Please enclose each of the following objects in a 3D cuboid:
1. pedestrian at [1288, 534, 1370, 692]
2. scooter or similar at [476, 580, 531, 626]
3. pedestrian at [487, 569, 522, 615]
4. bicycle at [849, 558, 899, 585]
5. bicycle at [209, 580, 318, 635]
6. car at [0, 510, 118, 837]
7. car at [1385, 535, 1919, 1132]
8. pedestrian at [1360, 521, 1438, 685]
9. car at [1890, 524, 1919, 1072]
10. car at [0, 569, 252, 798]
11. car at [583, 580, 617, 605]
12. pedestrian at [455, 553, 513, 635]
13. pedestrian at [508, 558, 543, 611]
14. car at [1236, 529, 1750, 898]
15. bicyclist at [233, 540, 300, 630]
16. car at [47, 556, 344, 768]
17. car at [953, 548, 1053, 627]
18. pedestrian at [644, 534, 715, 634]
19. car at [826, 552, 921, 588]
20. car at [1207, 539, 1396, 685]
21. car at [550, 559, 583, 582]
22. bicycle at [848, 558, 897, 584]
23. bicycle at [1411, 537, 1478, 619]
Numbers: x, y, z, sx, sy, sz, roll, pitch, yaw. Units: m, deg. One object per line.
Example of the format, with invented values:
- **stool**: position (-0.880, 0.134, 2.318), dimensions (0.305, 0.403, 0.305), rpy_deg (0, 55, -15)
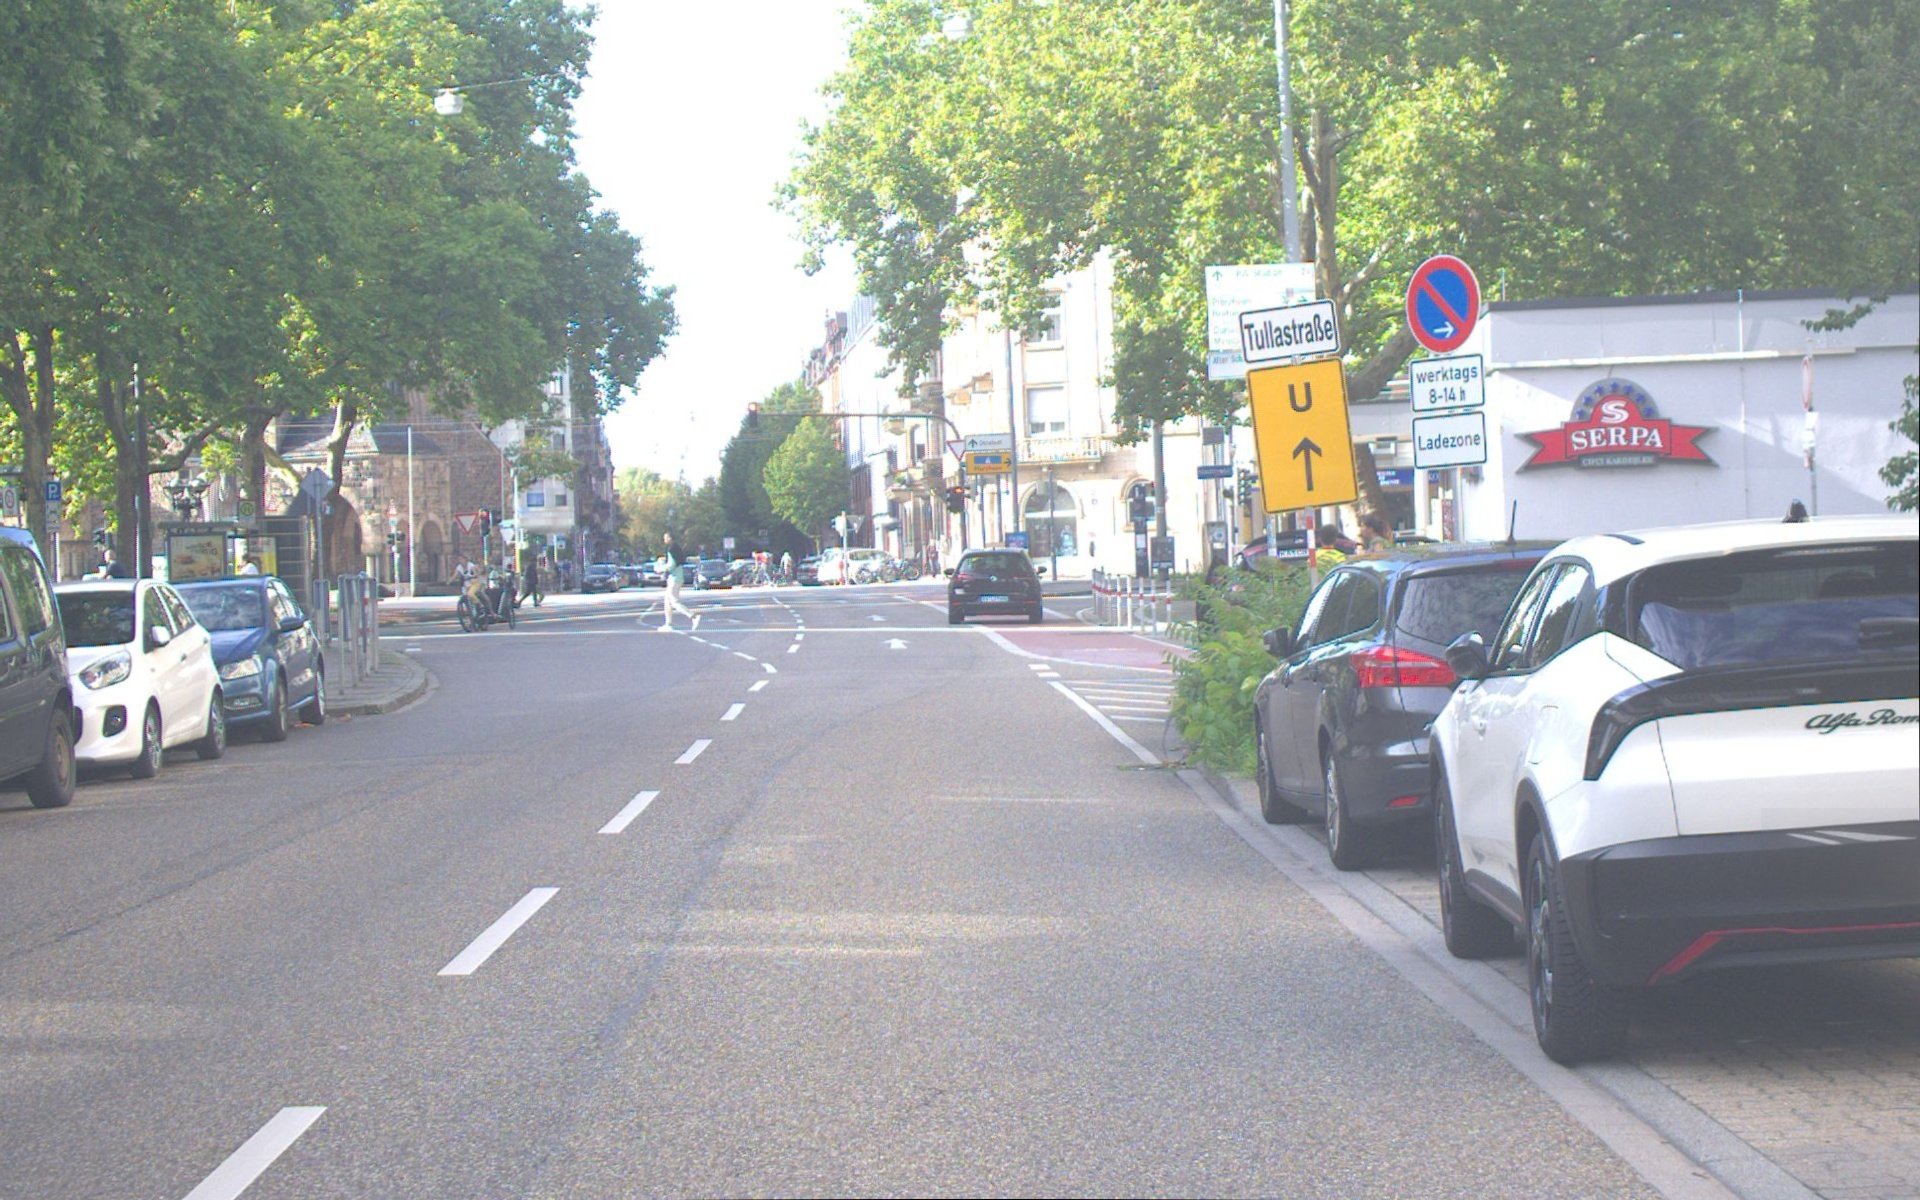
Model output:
- **pedestrian**: position (3.680, 0.122, 34.321), dimensions (0.652, 1.533, 0.743), rpy_deg (-3, 1, -1)
- **scooter or similar**: position (-9.537, 0.065, 71.891), dimensions (0.806, 0.919, 1.014), rpy_deg (-2, 1, 13)
- **pedestrian**: position (-14.301, -0.255, 107.984), dimensions (0.782, 1.427, 0.730), rpy_deg (-2, 1, 23)
- **bicycle**: position (-3.747, -1.233, 149.433), dimensions (2.022, 1.078, 0.620), rpy_deg (-2, 1, -14)
- **bicycle**: position (-13.253, 0.142, 65.467), dimensions (1.920, 0.990, 0.763), rpy_deg (-1, 1, -2)
- **car**: position (-6.418, 0.458, 20.493), dimensions (1.723, 1.876, 4.192), rpy_deg (-4, 1, -1)
- **car**: position (2.452, 0.580, 11.200), dimensions (1.690, 1.523, 4.237), rpy_deg (-2, 1, 2)
- **pedestrian**: position (4.464, 0.022, 35.000), dimensions (0.652, 1.639, 0.743), rpy_deg (-1, 1, -1)
- **car**: position (2.730, 0.607, 5.223), dimensions (1.551, 1.552, 3.468), rpy_deg (-3, 1, -1)
- **car**: position (-6.669, 0.593, 25.828), dimensions (1.799, 1.488, 3.803), rpy_deg (-4, 1, 0)
- **car**: position (-19.296, -0.410, 184.367), dimensions (1.550, 1.225, 3.588), rpy_deg (-1, 1, -2)
- **pedestrian**: position (-9.806, -0.122, 70.848), dimensions (0.814, 1.648, 1.075), rpy_deg (-2, 1, 13)
- **pedestrian**: position (-13.930, -0.511, 110.191), dimensions (0.781, 1.656, 0.778), rpy_deg (-2, 1, 19)
- **car**: position (2.487, 0.457, 17.040), dimensions (1.690, 1.523, 4.238), rpy_deg (-3, 1, -2)
- **bicyclist**: position (-13.210, -0.292, 65.488), dimensions (1.109, 1.686, 0.814), rpy_deg (-1, 1, -3)
- **car**: position (-6.676, 0.488, 30.403), dimensions (1.799, 1.614, 3.803), rpy_deg (-4, 1, -2)
- **car**: position (0.793, -0.263, 65.752), dimensions (1.751, 1.409, 4.000), rpy_deg (-1, 1, -1)
- **pedestrian**: position (-5.031, -0.290, 61.680), dimensions (1.074, 1.747, 0.919), rpy_deg (-1, 1, -17)
- **car**: position (-3.827, -1.319, 151.909), dimensions (3.986, 1.415, 2.000), rpy_deg (-2, 1, -7)
- **car**: position (3.678, 0.090, 37.629), dimensions (1.761, 1.407, 4.233), rpy_deg (-3, 1, 3)
- **car**: position (-22.141, -1.686, 193.601), dimensions (1.550, 1.225, 3.588), rpy_deg (-1, 1, -2)
- **bicycle**: position (-3.813, -1.260, 150.063), dimensions (2.022, 1.078, 0.631), rpy_deg (-2, 1, -14)
- **bicycle**: position (7.462, -0.349, 52.980), dimensions (0.769, 1.202, 1.815), rpy_deg (-3, 1, 2)
